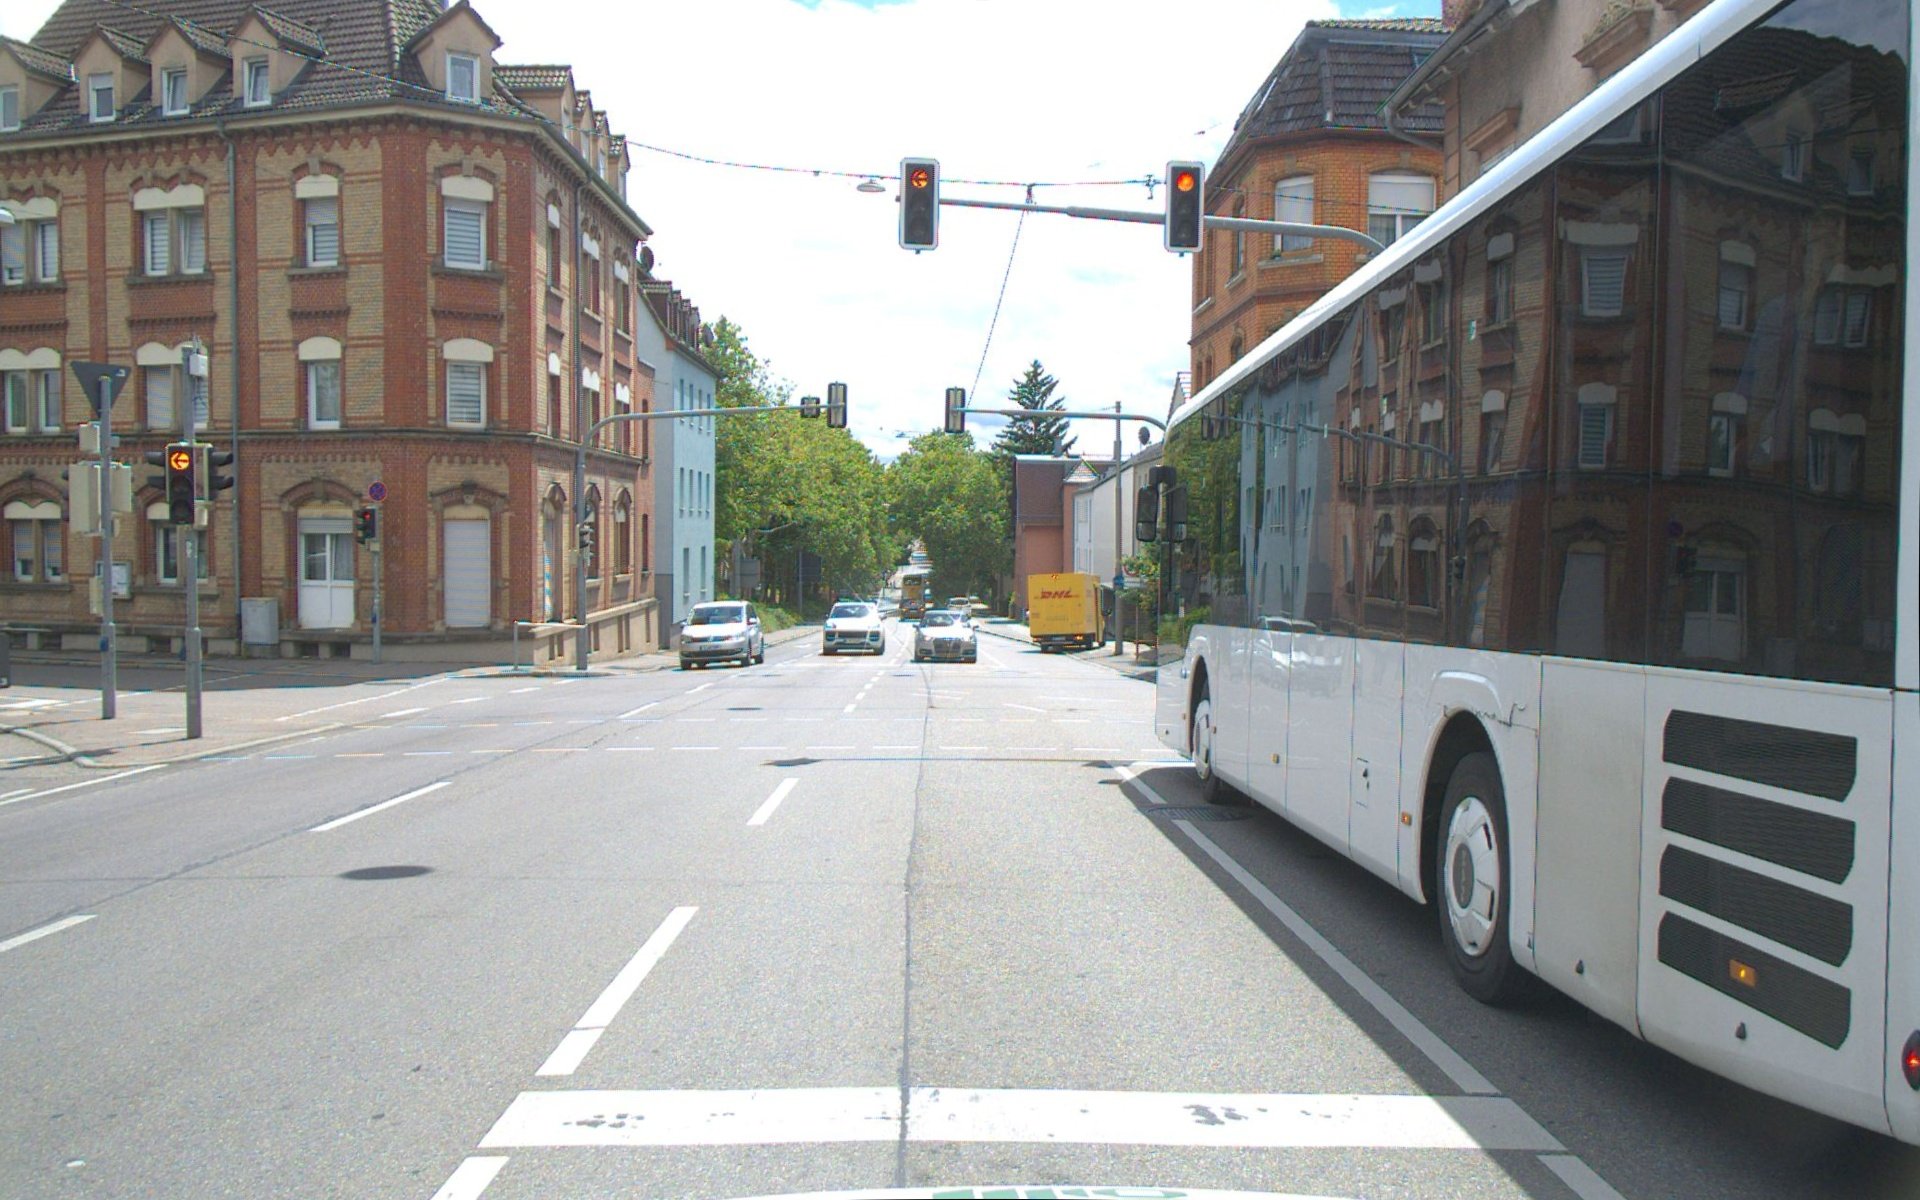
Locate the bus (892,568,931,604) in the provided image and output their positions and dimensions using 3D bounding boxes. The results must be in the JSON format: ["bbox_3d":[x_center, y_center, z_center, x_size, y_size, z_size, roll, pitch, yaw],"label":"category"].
[{"bbox_3d":[-5.317,-1.483,179.190,3.238,3.694,11.227,-1,0,-7],"label":"bus"}]

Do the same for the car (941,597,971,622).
[{"bbox_3d":[-0.313,0.736,129.578,2.050,1.862,4.139,0,0,-4],"label":"car"}]

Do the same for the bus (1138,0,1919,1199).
[{"bbox_3d":[3.215,-0.159,9.352,2.845,3.571,12.484,1,0,-1],"label":"bus"}]

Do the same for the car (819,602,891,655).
[{"bbox_3d":[-3.424,0.908,54.727,2.162,1.641,4.546,0,0,-1],"label":"car"}]

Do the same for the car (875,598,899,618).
[{"bbox_3d":[-6.721,0.731,152.017,2.050,1.862,4.139,0,0,-4],"label":"car"}]

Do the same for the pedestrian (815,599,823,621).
[{"bbox_3d":[-11.656,0.836,136.373,0.594,1.789,0.653,0,0,-2],"label":"pedestrian"}]

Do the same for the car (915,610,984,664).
[{"bbox_3d":[-0.311,1.012,46.633,1.827,1.391,4.546,0,0,-1],"label":"car"}]

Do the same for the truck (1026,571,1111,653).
[{"bbox_3d":[4.270,0.471,64.139,2.487,2.964,6.578,1,0,11],"label":"truck"}]

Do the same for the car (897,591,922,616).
[{"bbox_3d":[-3.761,0.283,123.317,1.782,1.816,3.999,0,0,-1],"label":"car"}]

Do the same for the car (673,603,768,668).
[{"bbox_3d":[-6.188,0.887,43.218,1.896,1.591,4.388,0,0,-1],"label":"car"}]
